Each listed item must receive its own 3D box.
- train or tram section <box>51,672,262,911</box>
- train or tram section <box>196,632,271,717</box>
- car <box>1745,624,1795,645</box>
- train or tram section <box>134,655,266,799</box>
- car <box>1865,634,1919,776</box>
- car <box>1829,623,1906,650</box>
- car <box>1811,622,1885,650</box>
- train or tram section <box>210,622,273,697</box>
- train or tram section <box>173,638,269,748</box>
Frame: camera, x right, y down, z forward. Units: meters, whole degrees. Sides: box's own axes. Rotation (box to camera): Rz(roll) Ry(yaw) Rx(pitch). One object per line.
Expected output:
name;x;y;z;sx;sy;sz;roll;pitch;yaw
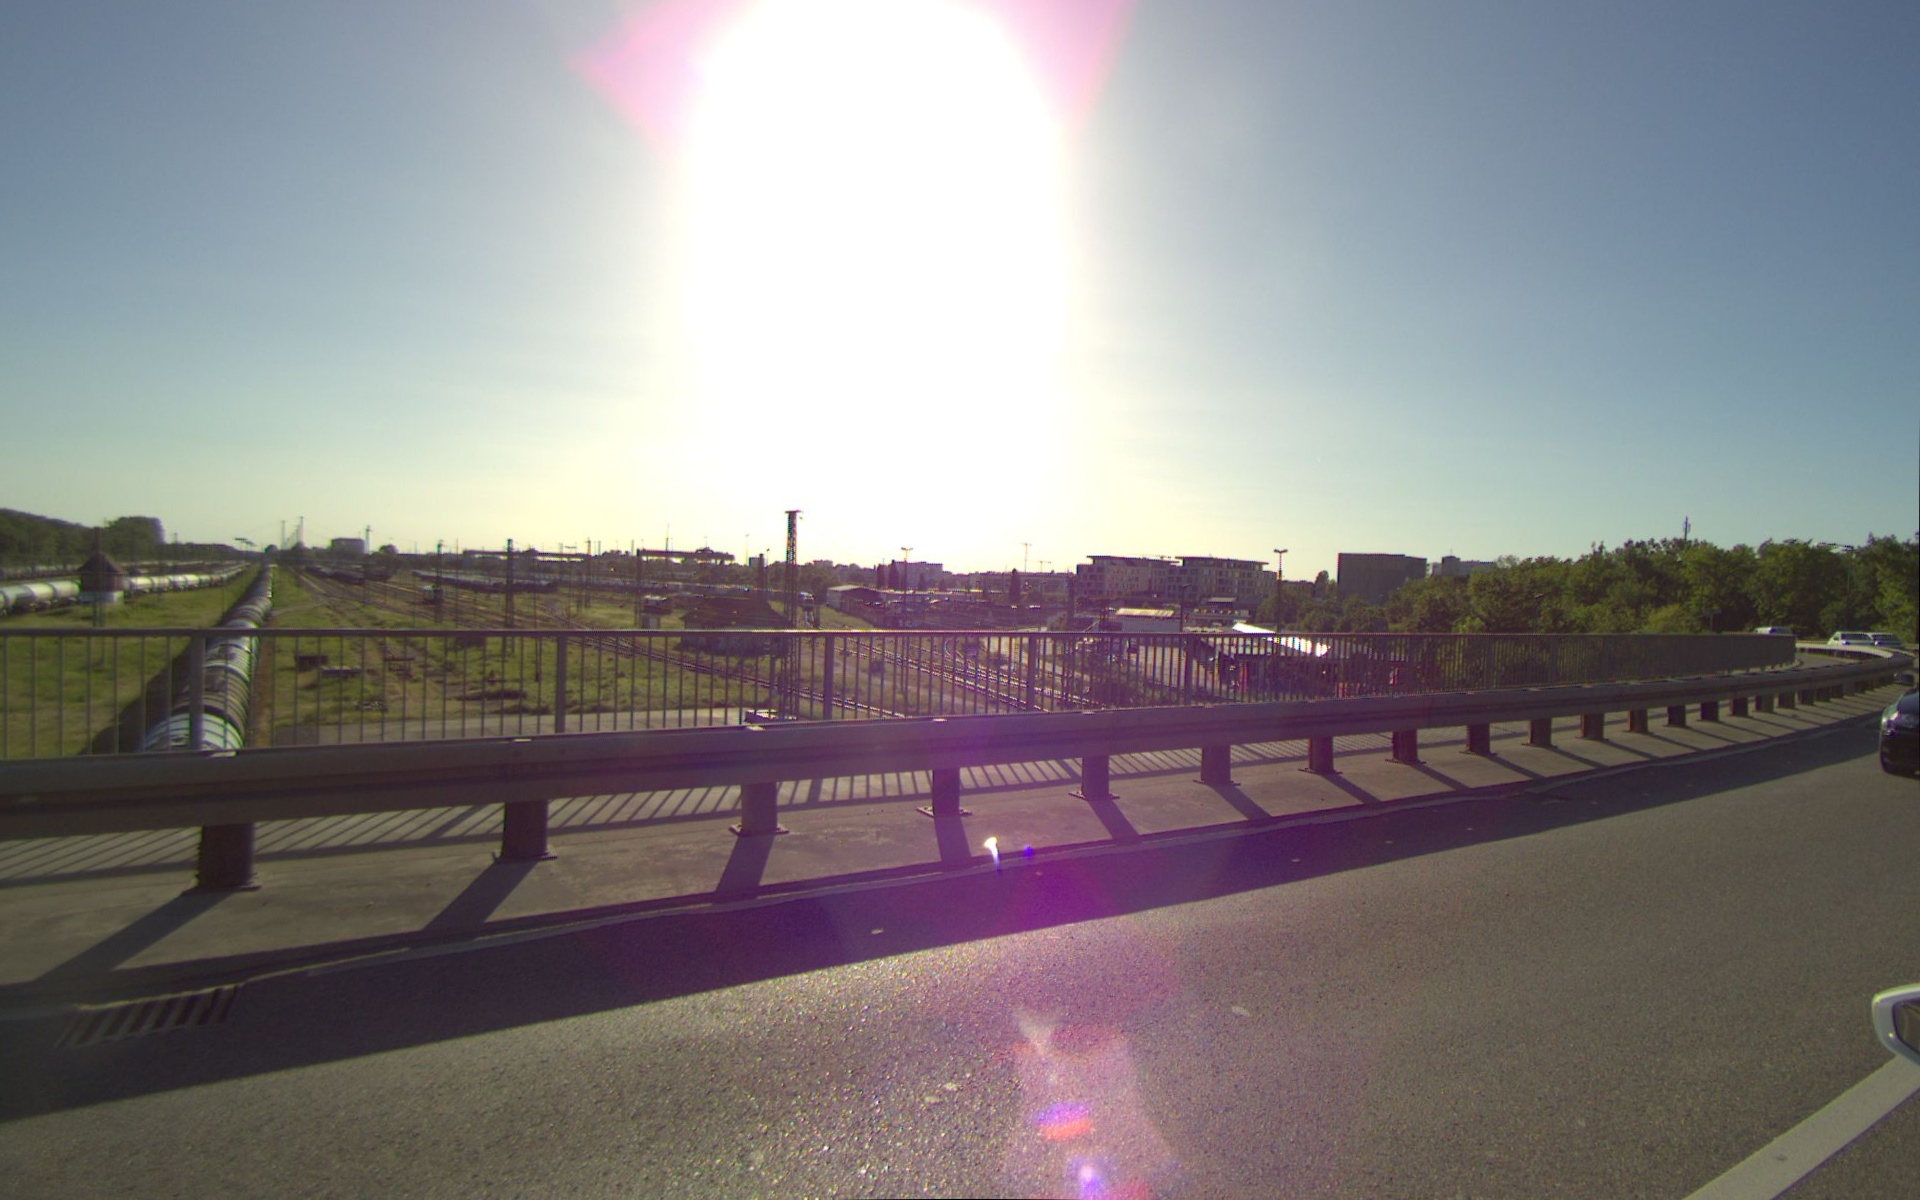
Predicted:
train or tram section;-24.738;5.152;31.961;3.866;4.652;16.608;1;-1;-34
train or tram section;-52.243;5.048;72.638;3.866;5.083;16.210;1;-1;-34
car;66.181;2.793;82.118;1.804;1.576;3.895;1;-1;16
train or tram section;-33.943;5.199;45.527;3.866;4.652;16.156;1;-1;-34
car;11.282;1.068;10.663;4.143;1.373;1.732;1;-1;-37
car;58.661;2.319;65.039;1.827;1.606;3.917;1;-1;9
car;52.089;2.112;59.019;1.806;1.539;3.771;1;-1;17
train or tram section;-61.380;4.791;86.143;3.866;5.592;16.347;1;-1;-34
train or tram section;-43.087;5.023;59.097;3.866;5.083;16.508;1;-1;-34
